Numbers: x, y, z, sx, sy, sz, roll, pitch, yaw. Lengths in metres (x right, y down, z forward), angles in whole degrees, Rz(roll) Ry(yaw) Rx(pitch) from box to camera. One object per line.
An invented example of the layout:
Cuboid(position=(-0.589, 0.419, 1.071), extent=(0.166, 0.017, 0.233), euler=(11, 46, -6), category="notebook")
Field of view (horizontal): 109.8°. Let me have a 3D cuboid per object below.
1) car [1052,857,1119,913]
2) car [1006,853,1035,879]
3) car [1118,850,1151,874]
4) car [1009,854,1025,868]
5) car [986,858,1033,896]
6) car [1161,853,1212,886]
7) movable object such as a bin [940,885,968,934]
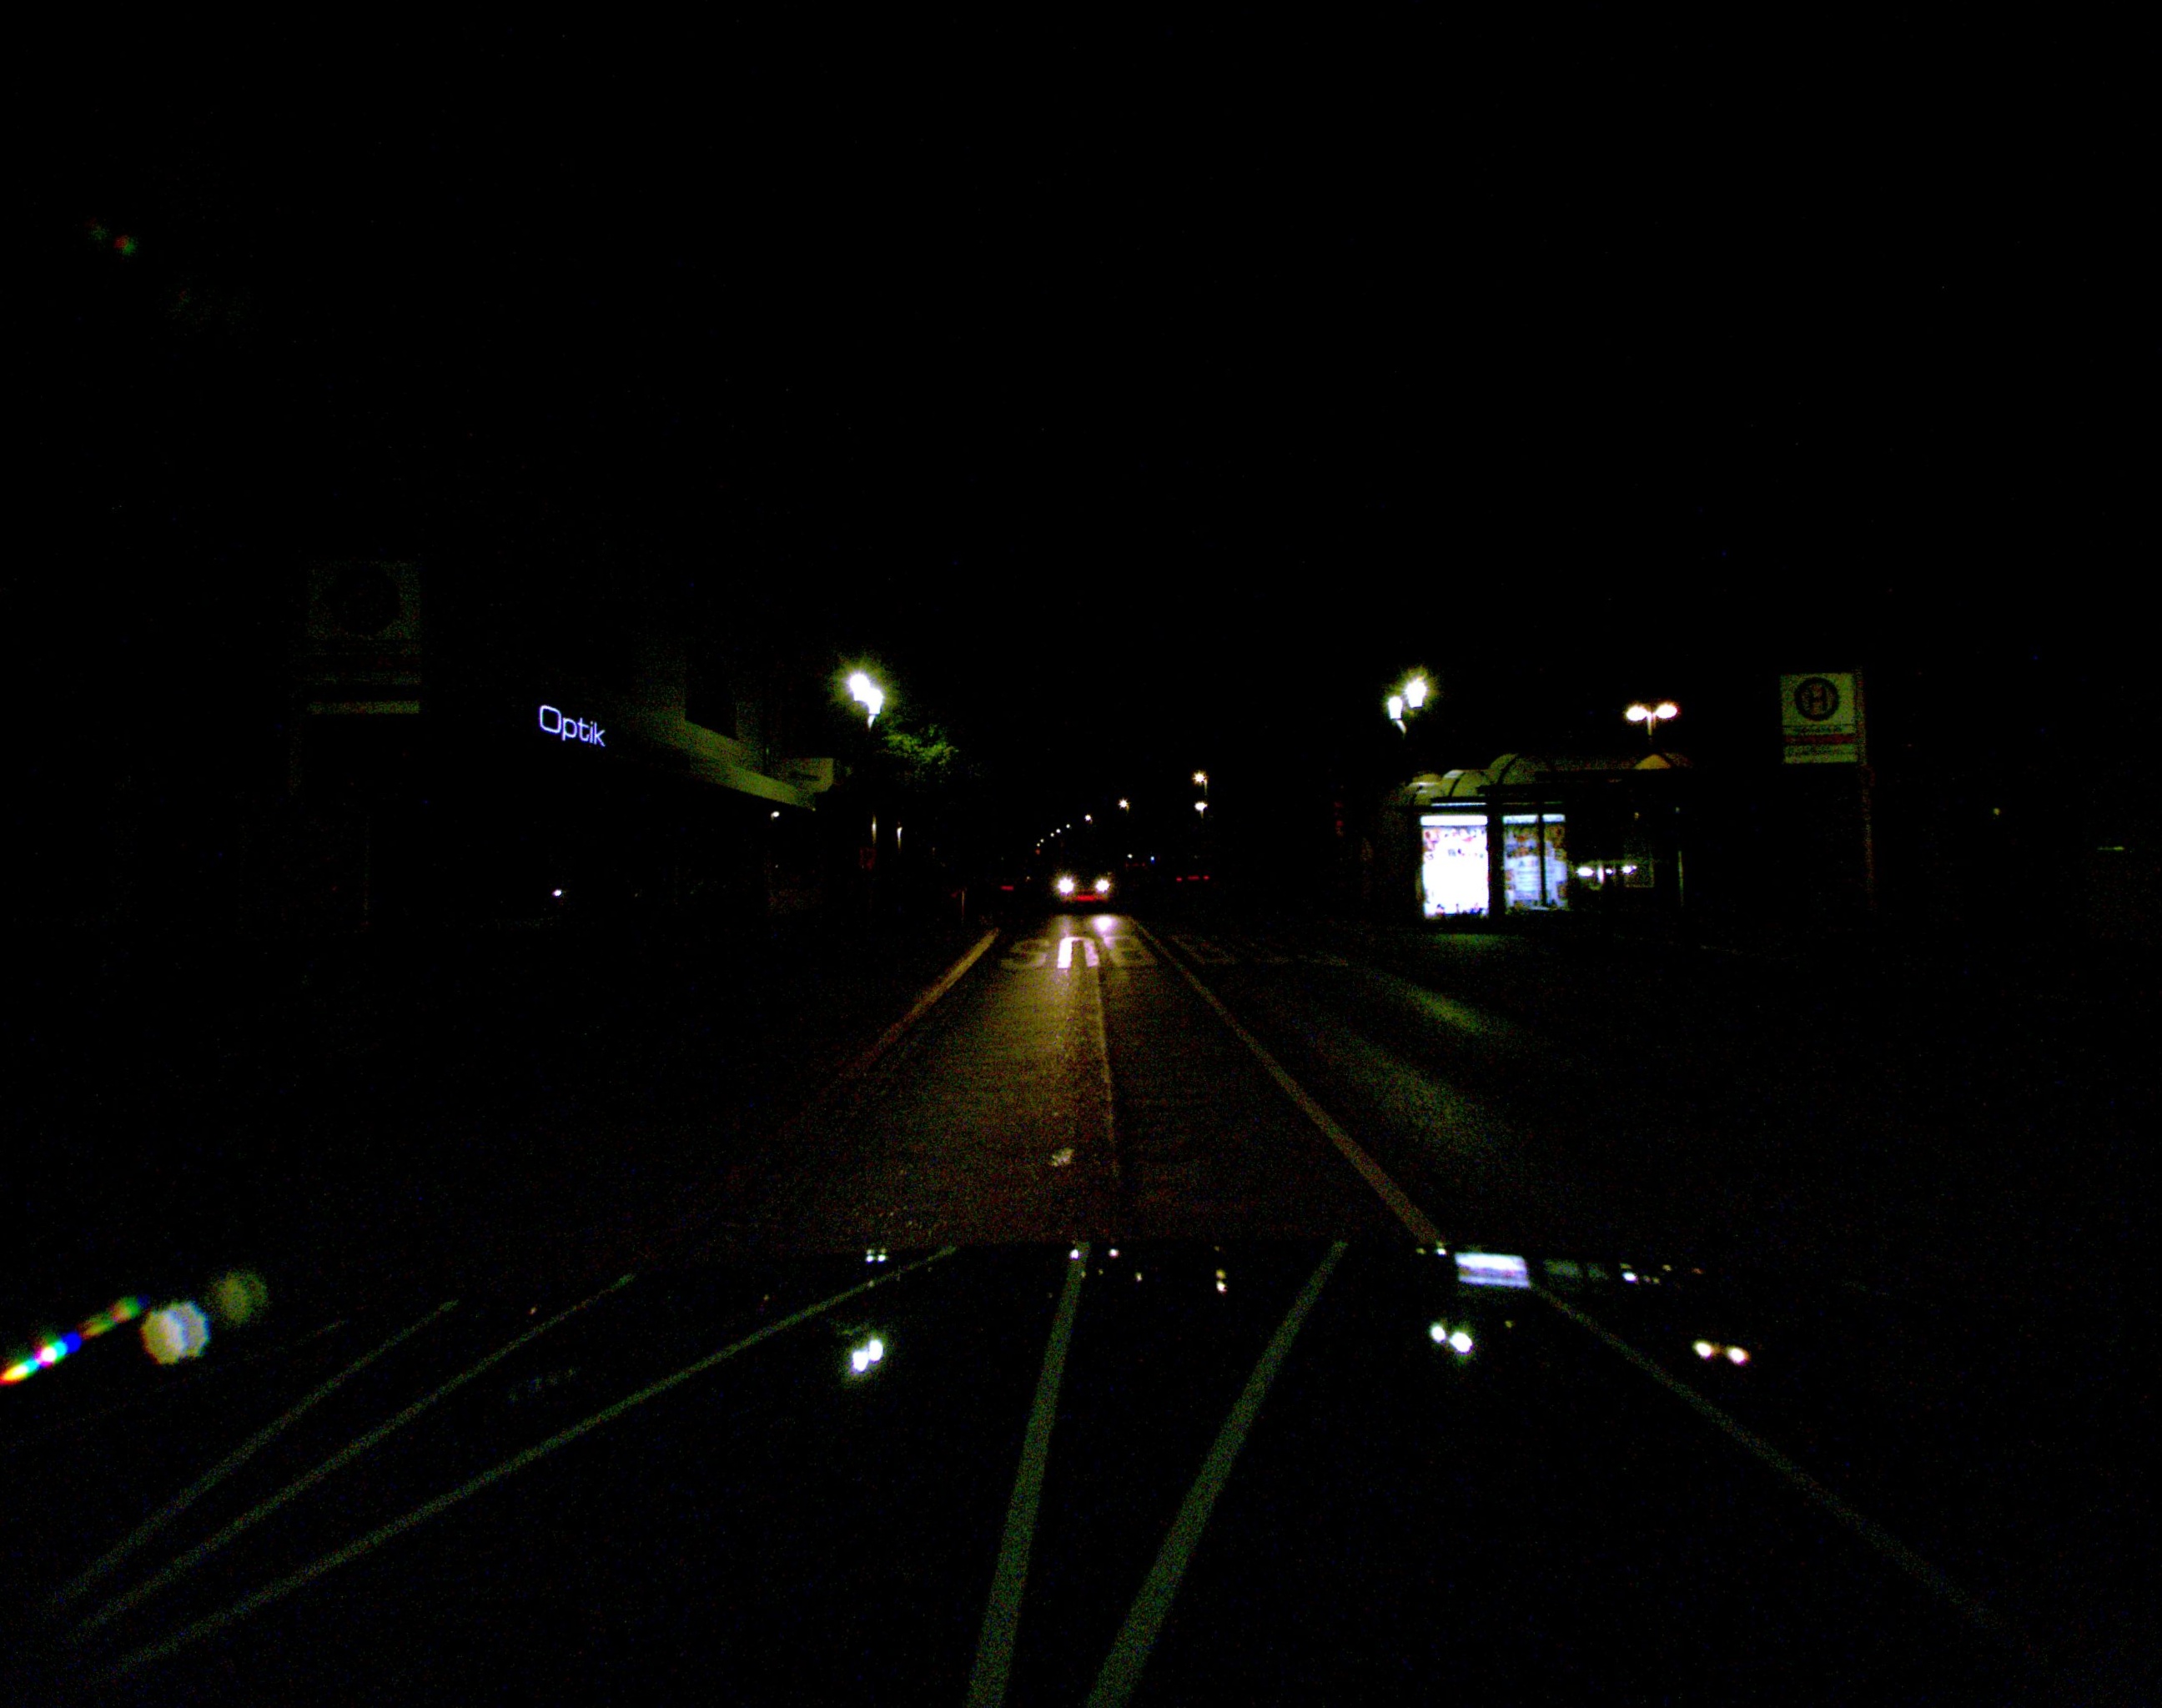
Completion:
Cuboid(position=(0.063, 0.877, 23.415), extent=(1.628, 1.496, 3.548), euler=(-2, 1, -6), category="car")
Cuboid(position=(-3.897, 0.737, 49.232), extent=(1.792, 1.632, 4.378), euler=(0, 0, -4), category="car")
Cuboid(position=(3.798, 0.540, 54.112), extent=(1.697, 1.515, 3.688), euler=(-2, 2, -6), category="car")
Cuboid(position=(-7.240, 0.765, 85.679), extent=(1.643, 1.458, 3.774), euler=(-3, 1, -5), category="car")
Cuboid(position=(-3.017, 0.931, 32.854), extent=(1.863, 1.434, 4.592), euler=(0, 1, -3), category="car")
Cuboid(position=(5.102, 0.697, 37.225), extent=(1.696, 1.428, 4.127), euler=(-3, 0, -2), category="car")
Cuboid(position=(-2.598, 1.122, 15.540), extent=(0.525, 0.932, 0.628), euler=(-2, 2, -11), category="movable object such as a bin")
